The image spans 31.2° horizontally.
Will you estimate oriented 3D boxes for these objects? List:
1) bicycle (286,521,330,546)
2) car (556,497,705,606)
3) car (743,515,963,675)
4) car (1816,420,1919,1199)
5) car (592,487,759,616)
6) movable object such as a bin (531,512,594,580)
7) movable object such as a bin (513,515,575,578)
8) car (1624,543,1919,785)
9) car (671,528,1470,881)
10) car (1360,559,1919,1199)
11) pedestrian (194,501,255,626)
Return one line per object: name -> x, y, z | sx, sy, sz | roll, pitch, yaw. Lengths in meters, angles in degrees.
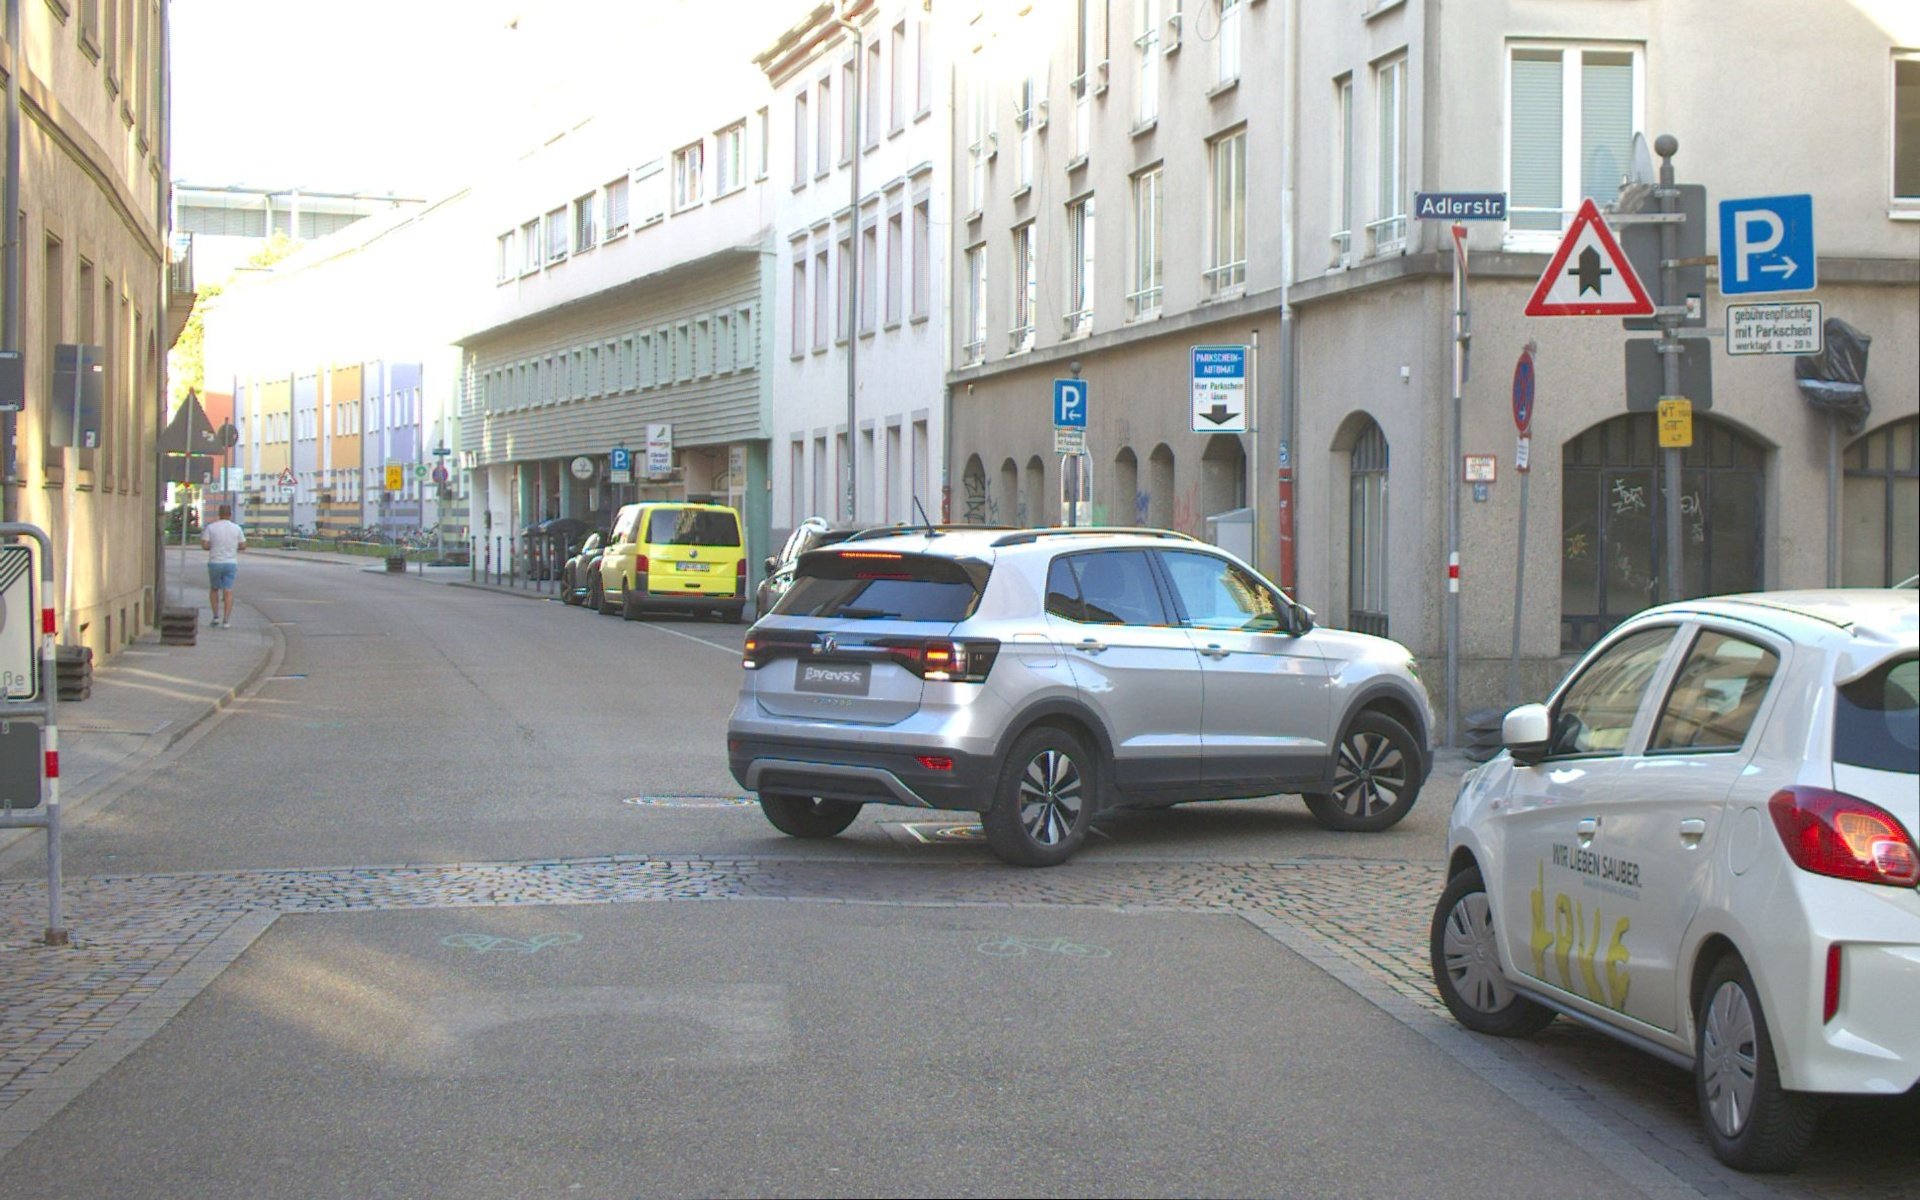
bicycle -> -27.367, -2.804, 144.332 | 1.780, 0.997, 0.547 | 1, 1, -15
car -> -5.983, -0.904, 62.022 | 2.052, 1.866, 4.102 | 1, 1, -14
car -> -1.306, -0.103, 39.901 | 1.967, 1.686, 4.102 | 2, 1, -9
car -> 2.688, 0.641, 4.108 | 1.830, 1.785, 5.214 | 2, 1, -2
car -> -4.699, -0.822, 56.270 | 2.052, 2.007, 4.176 | 1, 1, -14
movable object such as a bin -> -9.294, -1.260, 80.380 | 1.131, 1.552, 1.740 | 1, 1, -18
movable object such as a bin -> -9.936, -1.286, 82.066 | 1.131, 1.474, 1.740 | 1, 1, -18
car -> 6.930, 0.444, 23.728 | 4.215, 1.547, 1.902 | 1, 1, -4
car -> 0.649, 0.425, 17.405 | 1.841, 1.557, 3.990 | 2, 2, 44
car -> 2.582, 0.685, 10.059 | 1.888, 1.513, 4.064 | 1, 1, -7
pedestrian -> -10.203, -0.512, 47.665 | 0.765, 1.718, 0.687 | 1, 1, -15
